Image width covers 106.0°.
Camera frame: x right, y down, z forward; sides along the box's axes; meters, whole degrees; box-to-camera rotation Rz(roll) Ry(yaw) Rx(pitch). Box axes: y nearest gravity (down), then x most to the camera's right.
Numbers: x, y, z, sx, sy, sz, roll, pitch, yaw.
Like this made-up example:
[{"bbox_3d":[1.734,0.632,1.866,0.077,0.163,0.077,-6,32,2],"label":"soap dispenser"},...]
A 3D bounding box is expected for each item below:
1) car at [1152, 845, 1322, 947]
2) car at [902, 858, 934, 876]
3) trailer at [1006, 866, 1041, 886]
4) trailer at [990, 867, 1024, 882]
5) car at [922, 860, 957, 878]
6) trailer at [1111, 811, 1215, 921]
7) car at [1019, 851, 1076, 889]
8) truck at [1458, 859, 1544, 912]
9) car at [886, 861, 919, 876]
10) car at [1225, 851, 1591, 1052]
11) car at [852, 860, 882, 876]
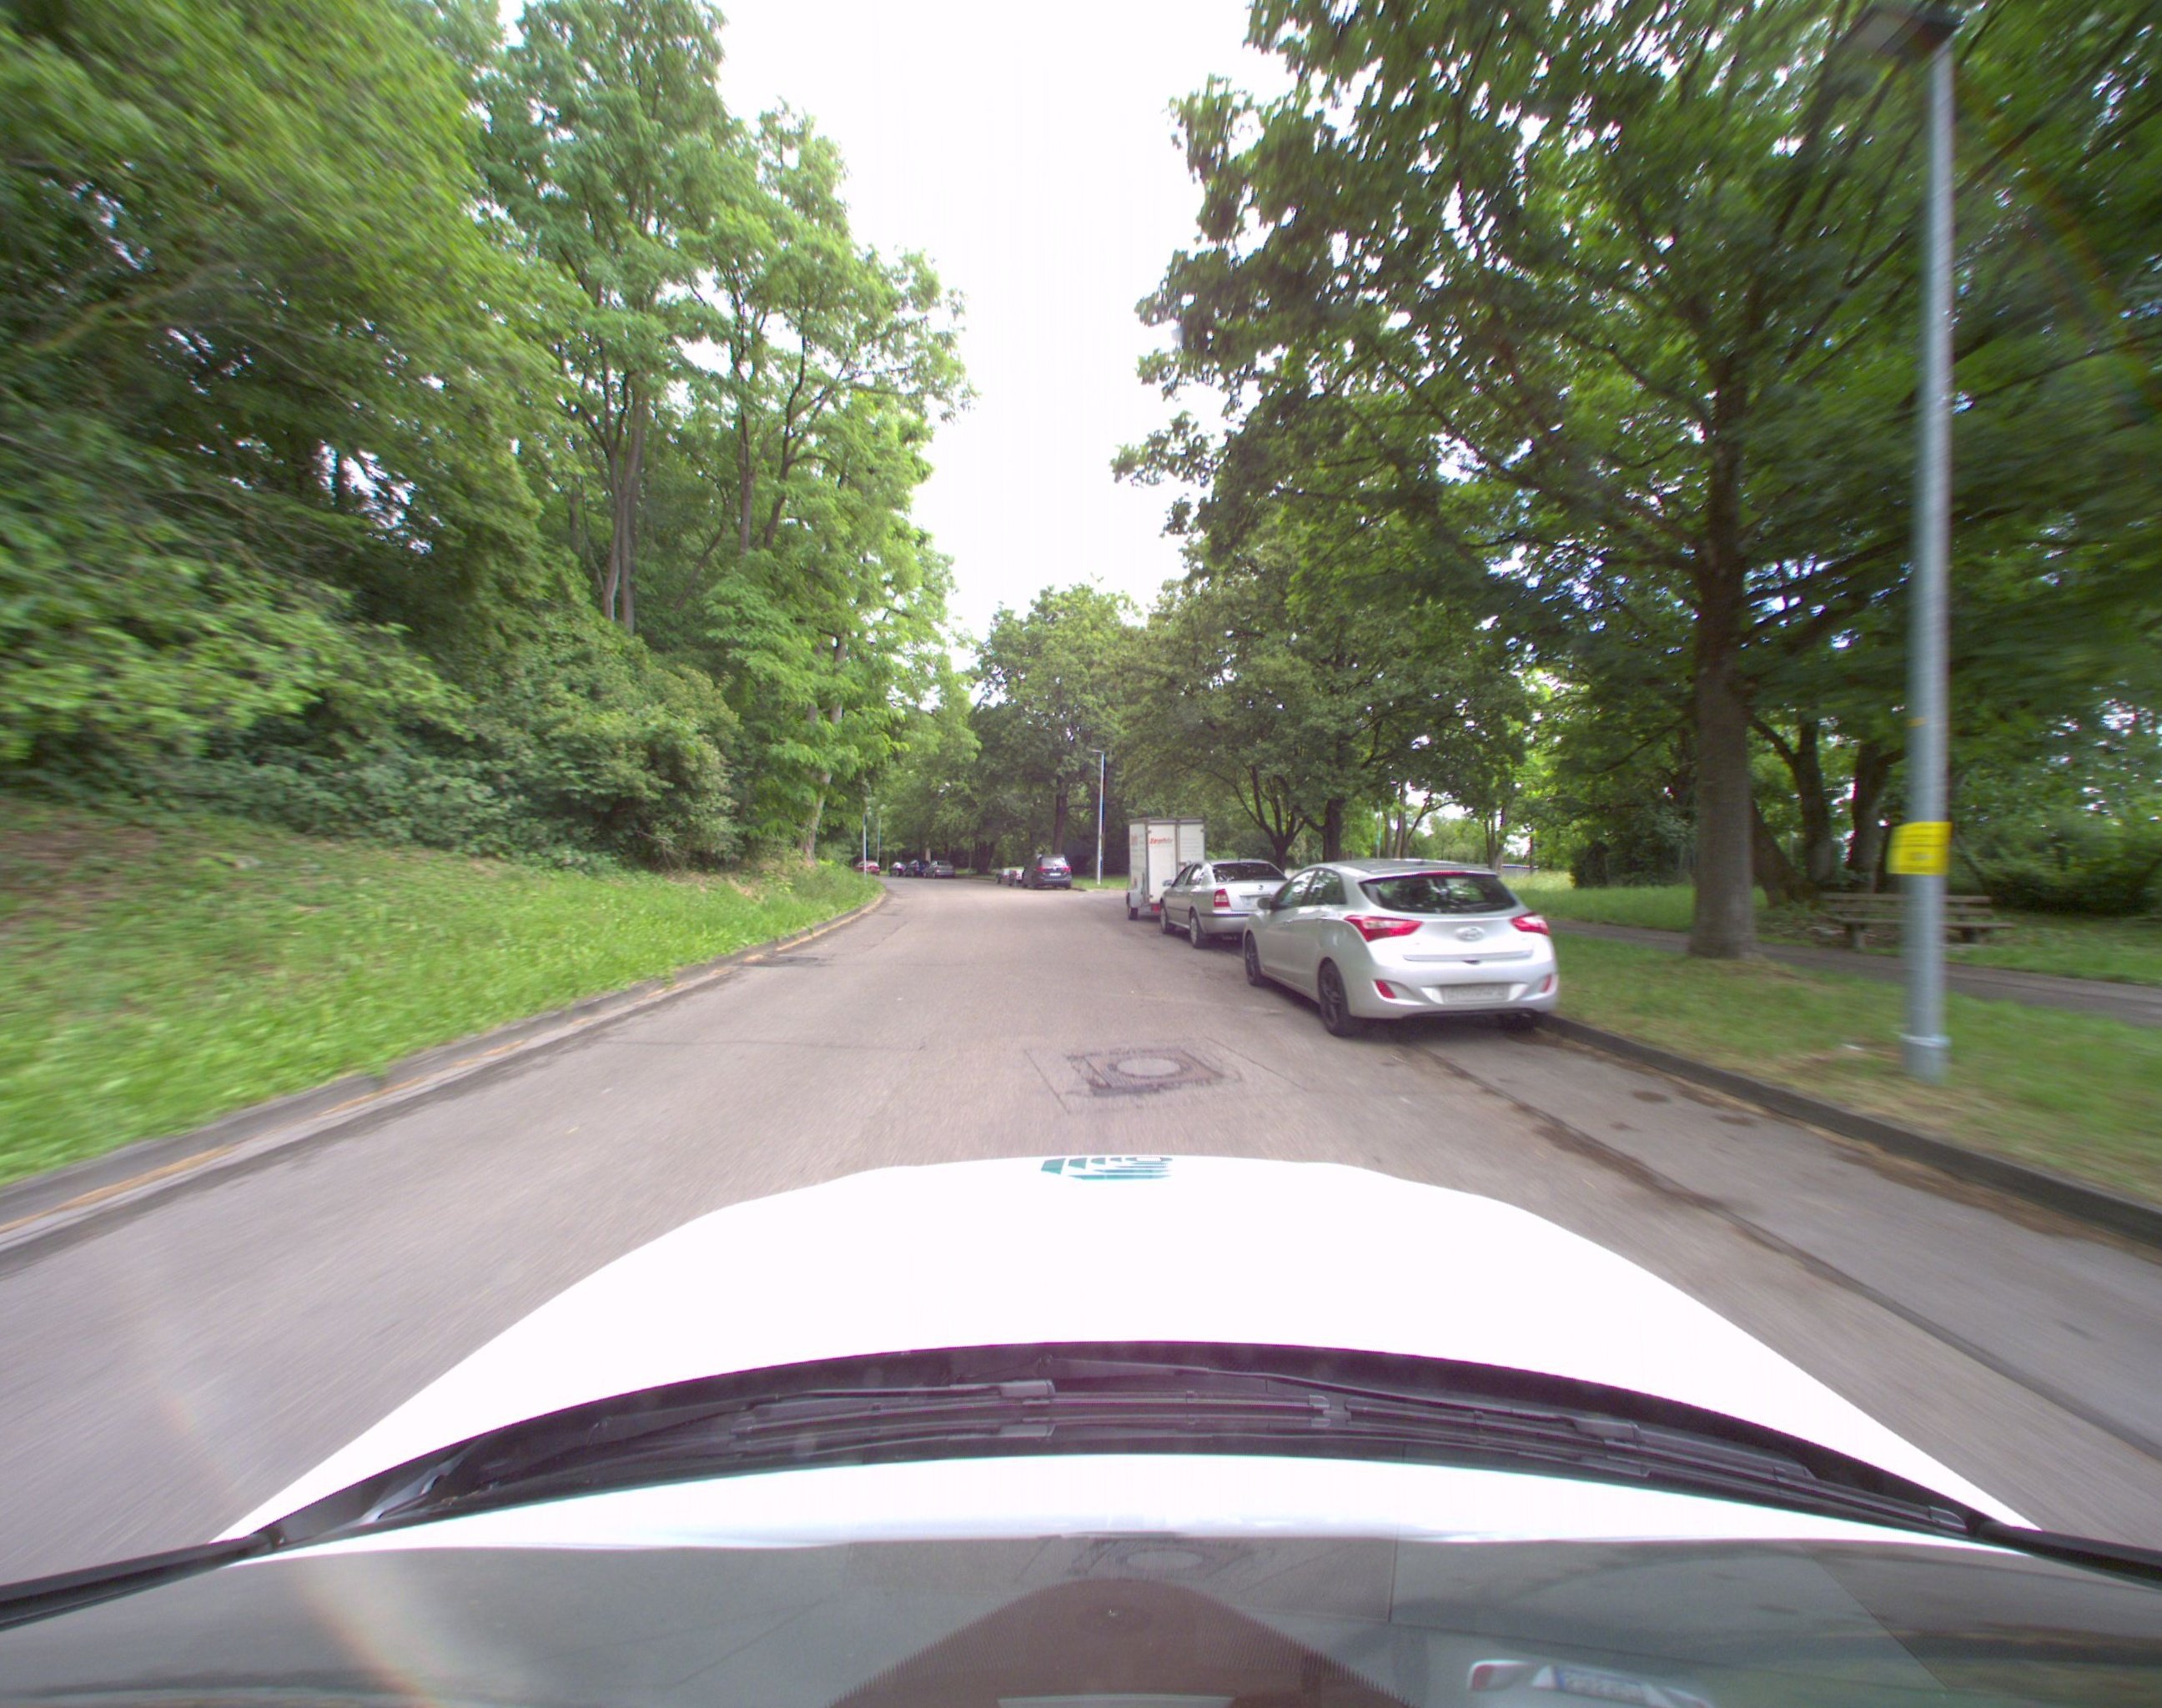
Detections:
[{"bbox_3d":[2.591,0.662,14.730,1.739,1.525,4.625,-1,-1,-6],"label":"car"},{"bbox_3d":[-14.400,1.170,71.803,1.723,1.510,4.143,3,-3,-27],"label":"car"},{"bbox_3d":[-3.206,1.208,44.806,1.358,0.969,3.876,2,0,-12],"label":"trailer"},{"bbox_3d":[-4.531,1.244,49.391,1.367,0.848,3.258,2,-2,-18],"label":"trailer"},{"bbox_3d":[-11.429,1.222,65.749,1.727,1.431,3.914,0,-1,-26],"label":"car"},{"bbox_3d":[1.906,0.264,20.098,1.759,2.427,3.878,-1,0,-7],"label":"trailer"},{"bbox_3d":[-1.673,0.780,38.935,1.778,1.663,4.817,2,-1,-14],"label":"car"},{"bbox_3d":[33.968,2.633,65.629,9.619,3.998,2.666,3,-3,-40],"label":"truck"},{"bbox_3d":[-16.700,1.360,75.931,1.761,1.337,4.372,1,-2,-31],"label":"car"},{"bbox_3d":[2.851,0.722,8.193,1.898,1.476,4.055,-1,0,-3],"label":"car"},{"bbox_3d":[-22.420,1.450,85.131,1.751,1.562,3.956,0,-2,-35],"label":"car"}]
